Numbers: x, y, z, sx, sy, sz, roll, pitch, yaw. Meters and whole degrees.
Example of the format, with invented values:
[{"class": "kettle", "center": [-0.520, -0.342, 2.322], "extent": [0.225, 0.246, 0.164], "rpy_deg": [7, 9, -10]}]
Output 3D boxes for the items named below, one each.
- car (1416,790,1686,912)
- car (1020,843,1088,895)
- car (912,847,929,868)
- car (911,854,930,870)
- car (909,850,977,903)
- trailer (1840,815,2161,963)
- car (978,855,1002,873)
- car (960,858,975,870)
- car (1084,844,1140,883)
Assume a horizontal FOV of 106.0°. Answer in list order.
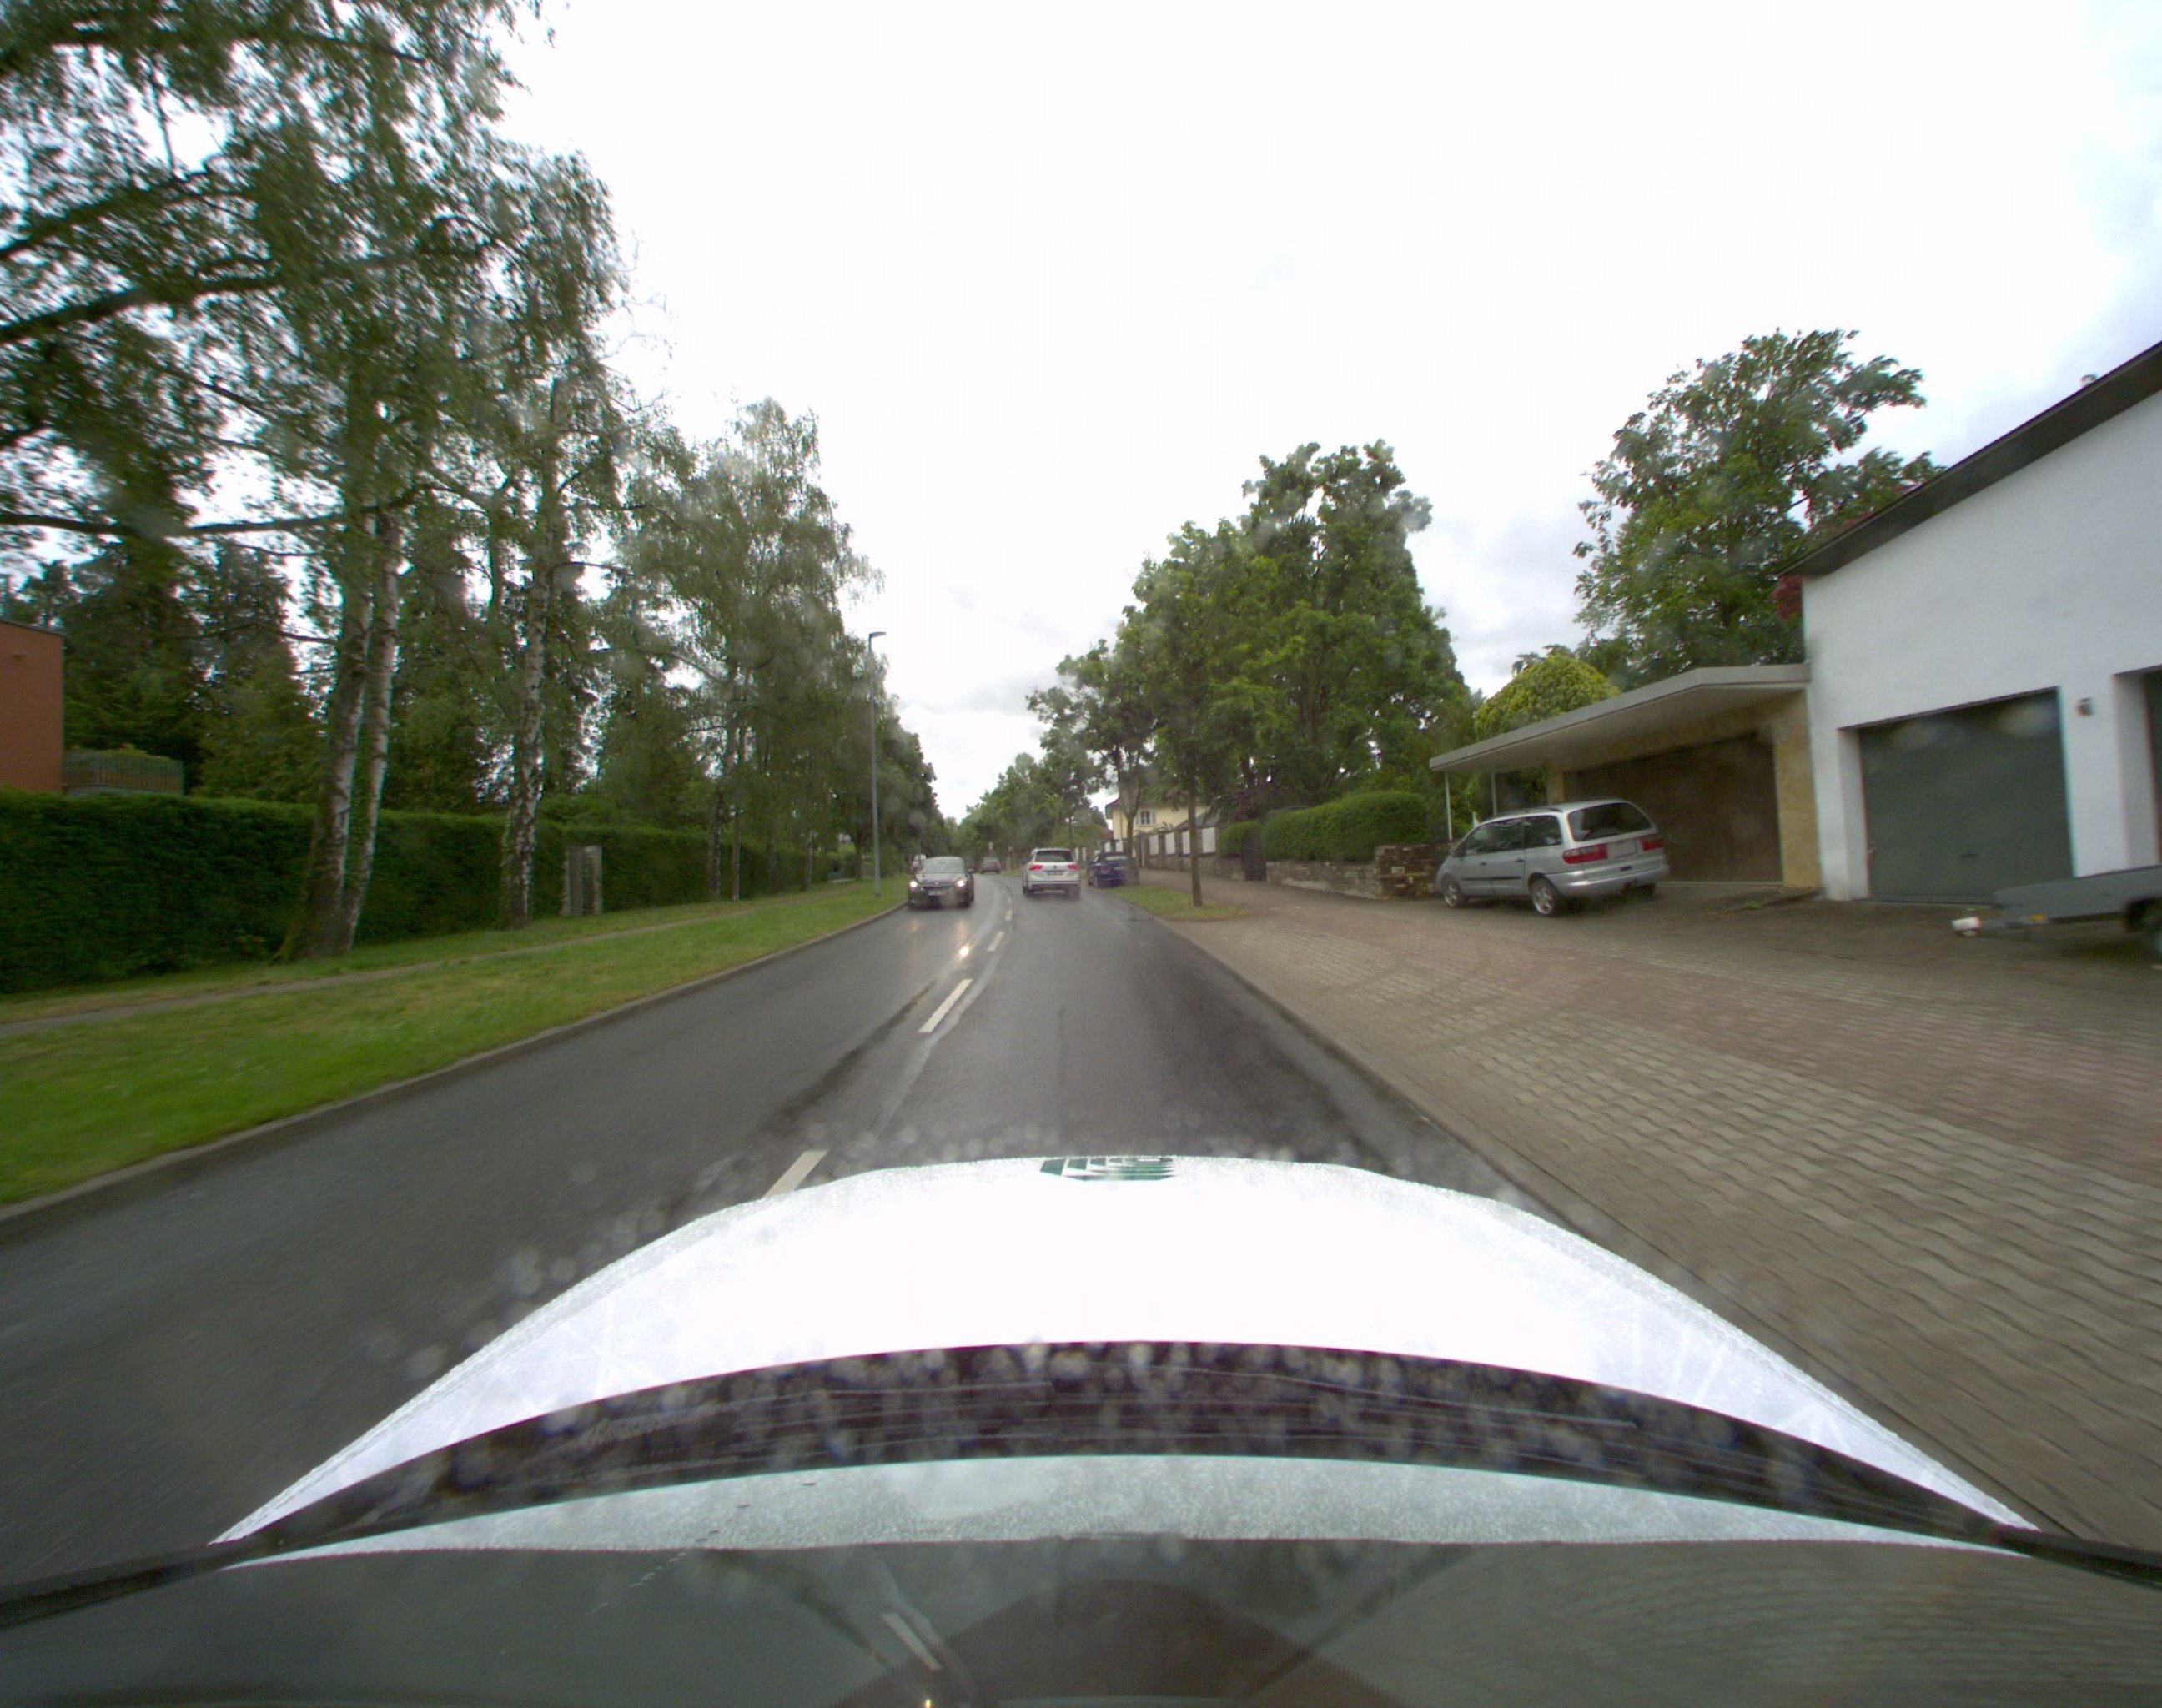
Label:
[{"class": "car", "center": [8.099, -0.059, 14.715], "extent": [1.790, 1.757, 4.937], "rpy_deg": [-2, 0, -3]}, {"class": "car", "center": [-1.037, 0.459, 28.516], "extent": [1.995, 1.632, 3.990], "rpy_deg": [-1, 1, -7]}, {"class": "car", "center": [-20.623, 0.466, 104.454], "extent": [1.995, 2.561, 5.212], "rpy_deg": [-2, -1, -11]}, {"class": "car", "center": [-16.256, 0.807, 82.319], "extent": [1.844, 1.466, 4.232], "rpy_deg": [-2, -1, -12]}, {"class": "car", "center": [-4.115, 0.617, 24.783], "extent": [1.752, 1.441, 4.149], "rpy_deg": [-1, 1, -6]}, {"class": "trailer", "center": [8.581, 0.240, 6.695], "extent": [1.418, 0.921, 3.270], "rpy_deg": [-10, 0, -4]}, {"class": "car", "center": [-8.001, 0.859, 71.362], "extent": [1.840, 1.487, 3.988], "rpy_deg": [-1, 1, -9]}, {"class": "car", "center": [-14.986, 1.339, 107.311], "extent": [1.852, 1.418, 4.213], "rpy_deg": [-1, 1, -9]}, {"class": "car", "center": [1.230, 0.366, 33.443], "extent": [1.640, 1.377, 3.820], "rpy_deg": [-4, 0, -7]}]
